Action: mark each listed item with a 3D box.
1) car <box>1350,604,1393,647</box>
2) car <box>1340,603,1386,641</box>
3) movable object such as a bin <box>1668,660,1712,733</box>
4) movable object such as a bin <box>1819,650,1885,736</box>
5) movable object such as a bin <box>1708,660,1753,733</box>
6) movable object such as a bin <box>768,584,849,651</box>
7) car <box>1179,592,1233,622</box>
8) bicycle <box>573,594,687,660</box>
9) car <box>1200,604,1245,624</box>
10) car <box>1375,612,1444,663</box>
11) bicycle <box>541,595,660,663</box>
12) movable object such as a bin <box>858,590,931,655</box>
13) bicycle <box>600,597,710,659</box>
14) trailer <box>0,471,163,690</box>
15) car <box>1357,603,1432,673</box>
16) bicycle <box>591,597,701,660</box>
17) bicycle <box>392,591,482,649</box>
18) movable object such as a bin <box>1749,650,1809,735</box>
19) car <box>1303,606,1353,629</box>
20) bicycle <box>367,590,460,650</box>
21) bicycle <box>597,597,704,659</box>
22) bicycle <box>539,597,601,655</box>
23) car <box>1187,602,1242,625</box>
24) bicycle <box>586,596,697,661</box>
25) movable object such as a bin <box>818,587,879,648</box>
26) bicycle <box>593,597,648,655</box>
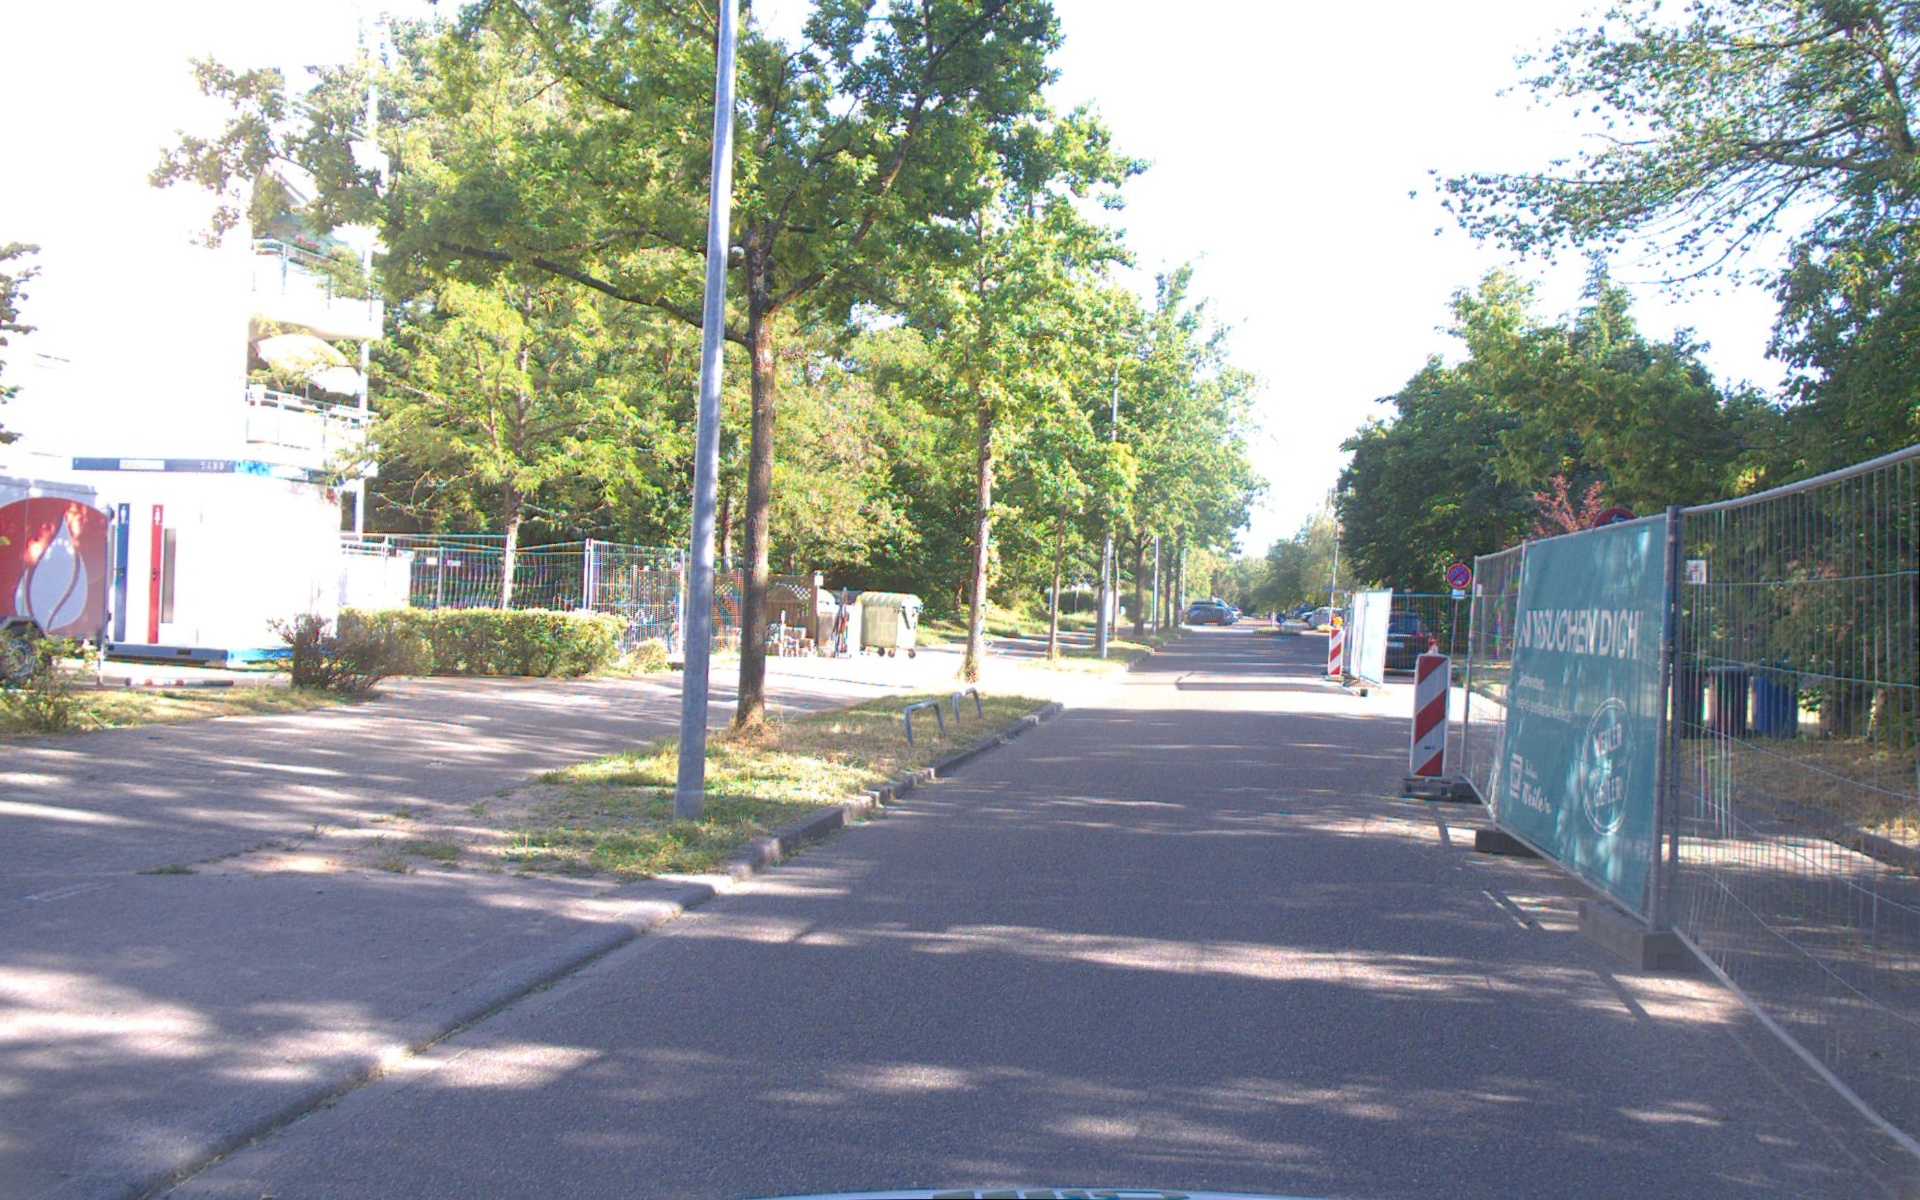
[{"bbox_3d":[18.622,1.133,74.987,1.589,1.804,3.672,3,0,11],"label":"car"},{"bbox_3d":[20.898,1.116,85.940,1.753,1.816,4.560,3,0,7],"label":"car"},{"bbox_3d":[9.117,1.196,20.662,0.404,0.885,0.484,0,-1,11],"label":"movable object such as a bin"},{"bbox_3d":[10.877,1.129,20.178,0.550,1.017,0.609,0,-1,11],"label":"movable object such as a bin"},{"bbox_3d":[9.595,1.197,20.604,0.404,0.885,0.484,0,-1,11],"label":"movable object such as a bin"},{"bbox_3d":[-3.452,0.389,37.632,1.249,1.460,1.319,1,0,39],"label":"movable object such as a bin"},{"bbox_3d":[24.647,0.698,165.950,5.090,2.666,2.295,4,0,6],"label":"car"},{"bbox_3d":[-5.598,0.464,28.066,1.818,1.045,0.400,2,-1,-2],"label":"bicycle"},{"bbox_3d":[24.850,1.350,156.783,4.020,1.604,1.960,4,0,13],"label":"car"},{"bbox_3d":[13.792,1.121,50.876,1.626,1.399,4.158,4,0,10],"label":"car"},{"bbox_3d":[-5.902,0.470,27.165,1.831,1.045,0.400,2,-1,-2],"label":"bicycle"},{"bbox_3d":[-1.510,0.517,38.381,1.244,1.460,1.180,1,0,27],"label":"movable object such as a bin"},{"bbox_3d":[-5.506,0.501,29.915,1.876,1.045,0.400,2,-1,-2],"label":"bicycle"},{"bbox_3d":[-10.321,-0.249,16.461,1.825,2.157,4.349,4,0,14],"label":"trailer"},{"bbox_3d":[11.665,0.987,44.425,1.772,1.679,4.424,4,0,15],"label":"car"},{"bbox_3d":[-5.505,0.501,29.011,1.821,1.045,0.400,2,-1,-2],"label":"bicycle"},{"bbox_3d":[-9.920,0.377,31.352,1.659,1.045,0.401,2,-1,17],"label":"bicycle"},{"bbox_3d":[10.057,1.129,20.323,0.507,1.017,0.609,0,-1,11],"label":"movable object such as a bin"},{"bbox_3d":[29.924,1.430,134.553,3.759,1.604,1.689,4,0,18],"label":"car"},{"bbox_3d":[-10.149,0.369,30.708,1.659,1.045,0.401,2,-1,17],"label":"bicycle"},{"bbox_3d":[-5.498,0.496,29.440,1.801,1.045,0.400,2,-1,-2],"label":"bicycle"},{"bbox_3d":[-7.361,0.491,31.267,0.391,1.045,1.702,2,-1,13],"label":"bicycle"},{"bbox_3d":[21.666,1.145,140.779,4.228,1.604,2.047,4,0,18],"label":"car"},{"bbox_3d":[-5.486,0.492,28.526,1.801,1.045,0.400,2,-1,-2],"label":"bicycle"},{"bbox_3d":[-2.726,0.423,40.399,1.125,1.460,1.264,1,0,-23],"label":"movable object such as a bin"},{"bbox_3d":[-6.371,0.492,31.111,0.391,1.045,1.702,2,-1,10],"label":"bicycle"}]
